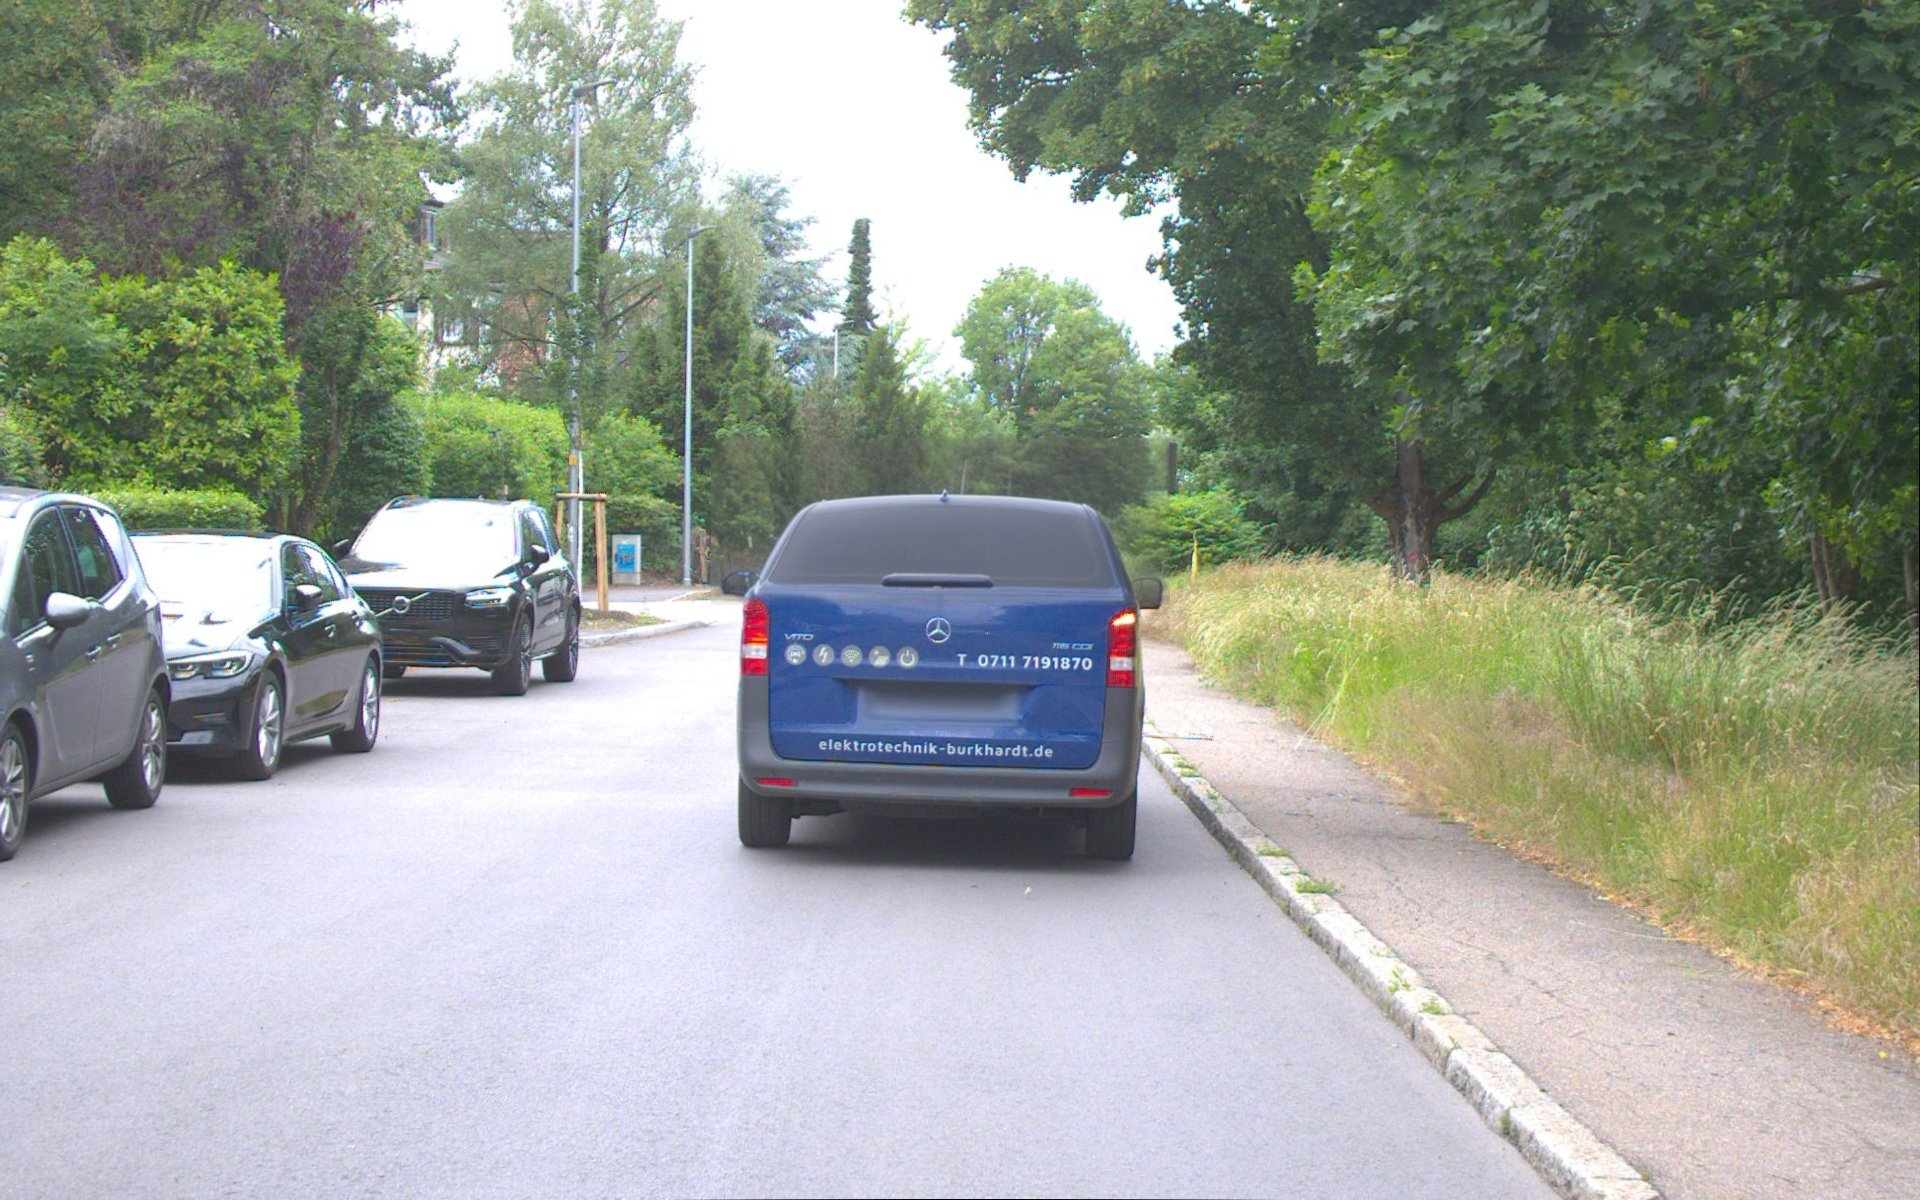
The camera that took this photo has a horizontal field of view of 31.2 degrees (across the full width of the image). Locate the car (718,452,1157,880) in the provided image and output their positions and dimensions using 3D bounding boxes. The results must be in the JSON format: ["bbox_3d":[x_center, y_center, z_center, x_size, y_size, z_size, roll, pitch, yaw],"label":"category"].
[{"bbox_3d":[-0.195,0.210,17.159,1.888,1.837,4.001,1,2,-3],"label":"car"}]

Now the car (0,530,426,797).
[{"bbox_3d":[-4.690,0.301,21.301,1.754,1.408,4.898,2,1,3],"label":"car"}]

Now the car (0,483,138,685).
[{"bbox_3d":[-9.118,-0.206,29.179,3.694,1.632,1.827,2,1,13],"label":"car"}]

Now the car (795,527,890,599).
[{"bbox_3d":[-2.814,-0.902,83.256,1.836,1.625,4.300,3,1,3],"label":"car"}]

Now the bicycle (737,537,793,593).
[{"bbox_3d":[-4.543,-0.821,80.411,0.906,1.247,2.915,4,1,3],"label":"bicycle"}]

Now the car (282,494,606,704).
[{"bbox_3d":[-4.687,-0.055,32.023,1.974,1.731,5.189,2,1,3],"label":"car"}]

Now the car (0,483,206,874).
[{"bbox_3d":[-4.847,0.269,15.851,1.731,1.626,4.569,2,1,-1],"label":"car"}]
